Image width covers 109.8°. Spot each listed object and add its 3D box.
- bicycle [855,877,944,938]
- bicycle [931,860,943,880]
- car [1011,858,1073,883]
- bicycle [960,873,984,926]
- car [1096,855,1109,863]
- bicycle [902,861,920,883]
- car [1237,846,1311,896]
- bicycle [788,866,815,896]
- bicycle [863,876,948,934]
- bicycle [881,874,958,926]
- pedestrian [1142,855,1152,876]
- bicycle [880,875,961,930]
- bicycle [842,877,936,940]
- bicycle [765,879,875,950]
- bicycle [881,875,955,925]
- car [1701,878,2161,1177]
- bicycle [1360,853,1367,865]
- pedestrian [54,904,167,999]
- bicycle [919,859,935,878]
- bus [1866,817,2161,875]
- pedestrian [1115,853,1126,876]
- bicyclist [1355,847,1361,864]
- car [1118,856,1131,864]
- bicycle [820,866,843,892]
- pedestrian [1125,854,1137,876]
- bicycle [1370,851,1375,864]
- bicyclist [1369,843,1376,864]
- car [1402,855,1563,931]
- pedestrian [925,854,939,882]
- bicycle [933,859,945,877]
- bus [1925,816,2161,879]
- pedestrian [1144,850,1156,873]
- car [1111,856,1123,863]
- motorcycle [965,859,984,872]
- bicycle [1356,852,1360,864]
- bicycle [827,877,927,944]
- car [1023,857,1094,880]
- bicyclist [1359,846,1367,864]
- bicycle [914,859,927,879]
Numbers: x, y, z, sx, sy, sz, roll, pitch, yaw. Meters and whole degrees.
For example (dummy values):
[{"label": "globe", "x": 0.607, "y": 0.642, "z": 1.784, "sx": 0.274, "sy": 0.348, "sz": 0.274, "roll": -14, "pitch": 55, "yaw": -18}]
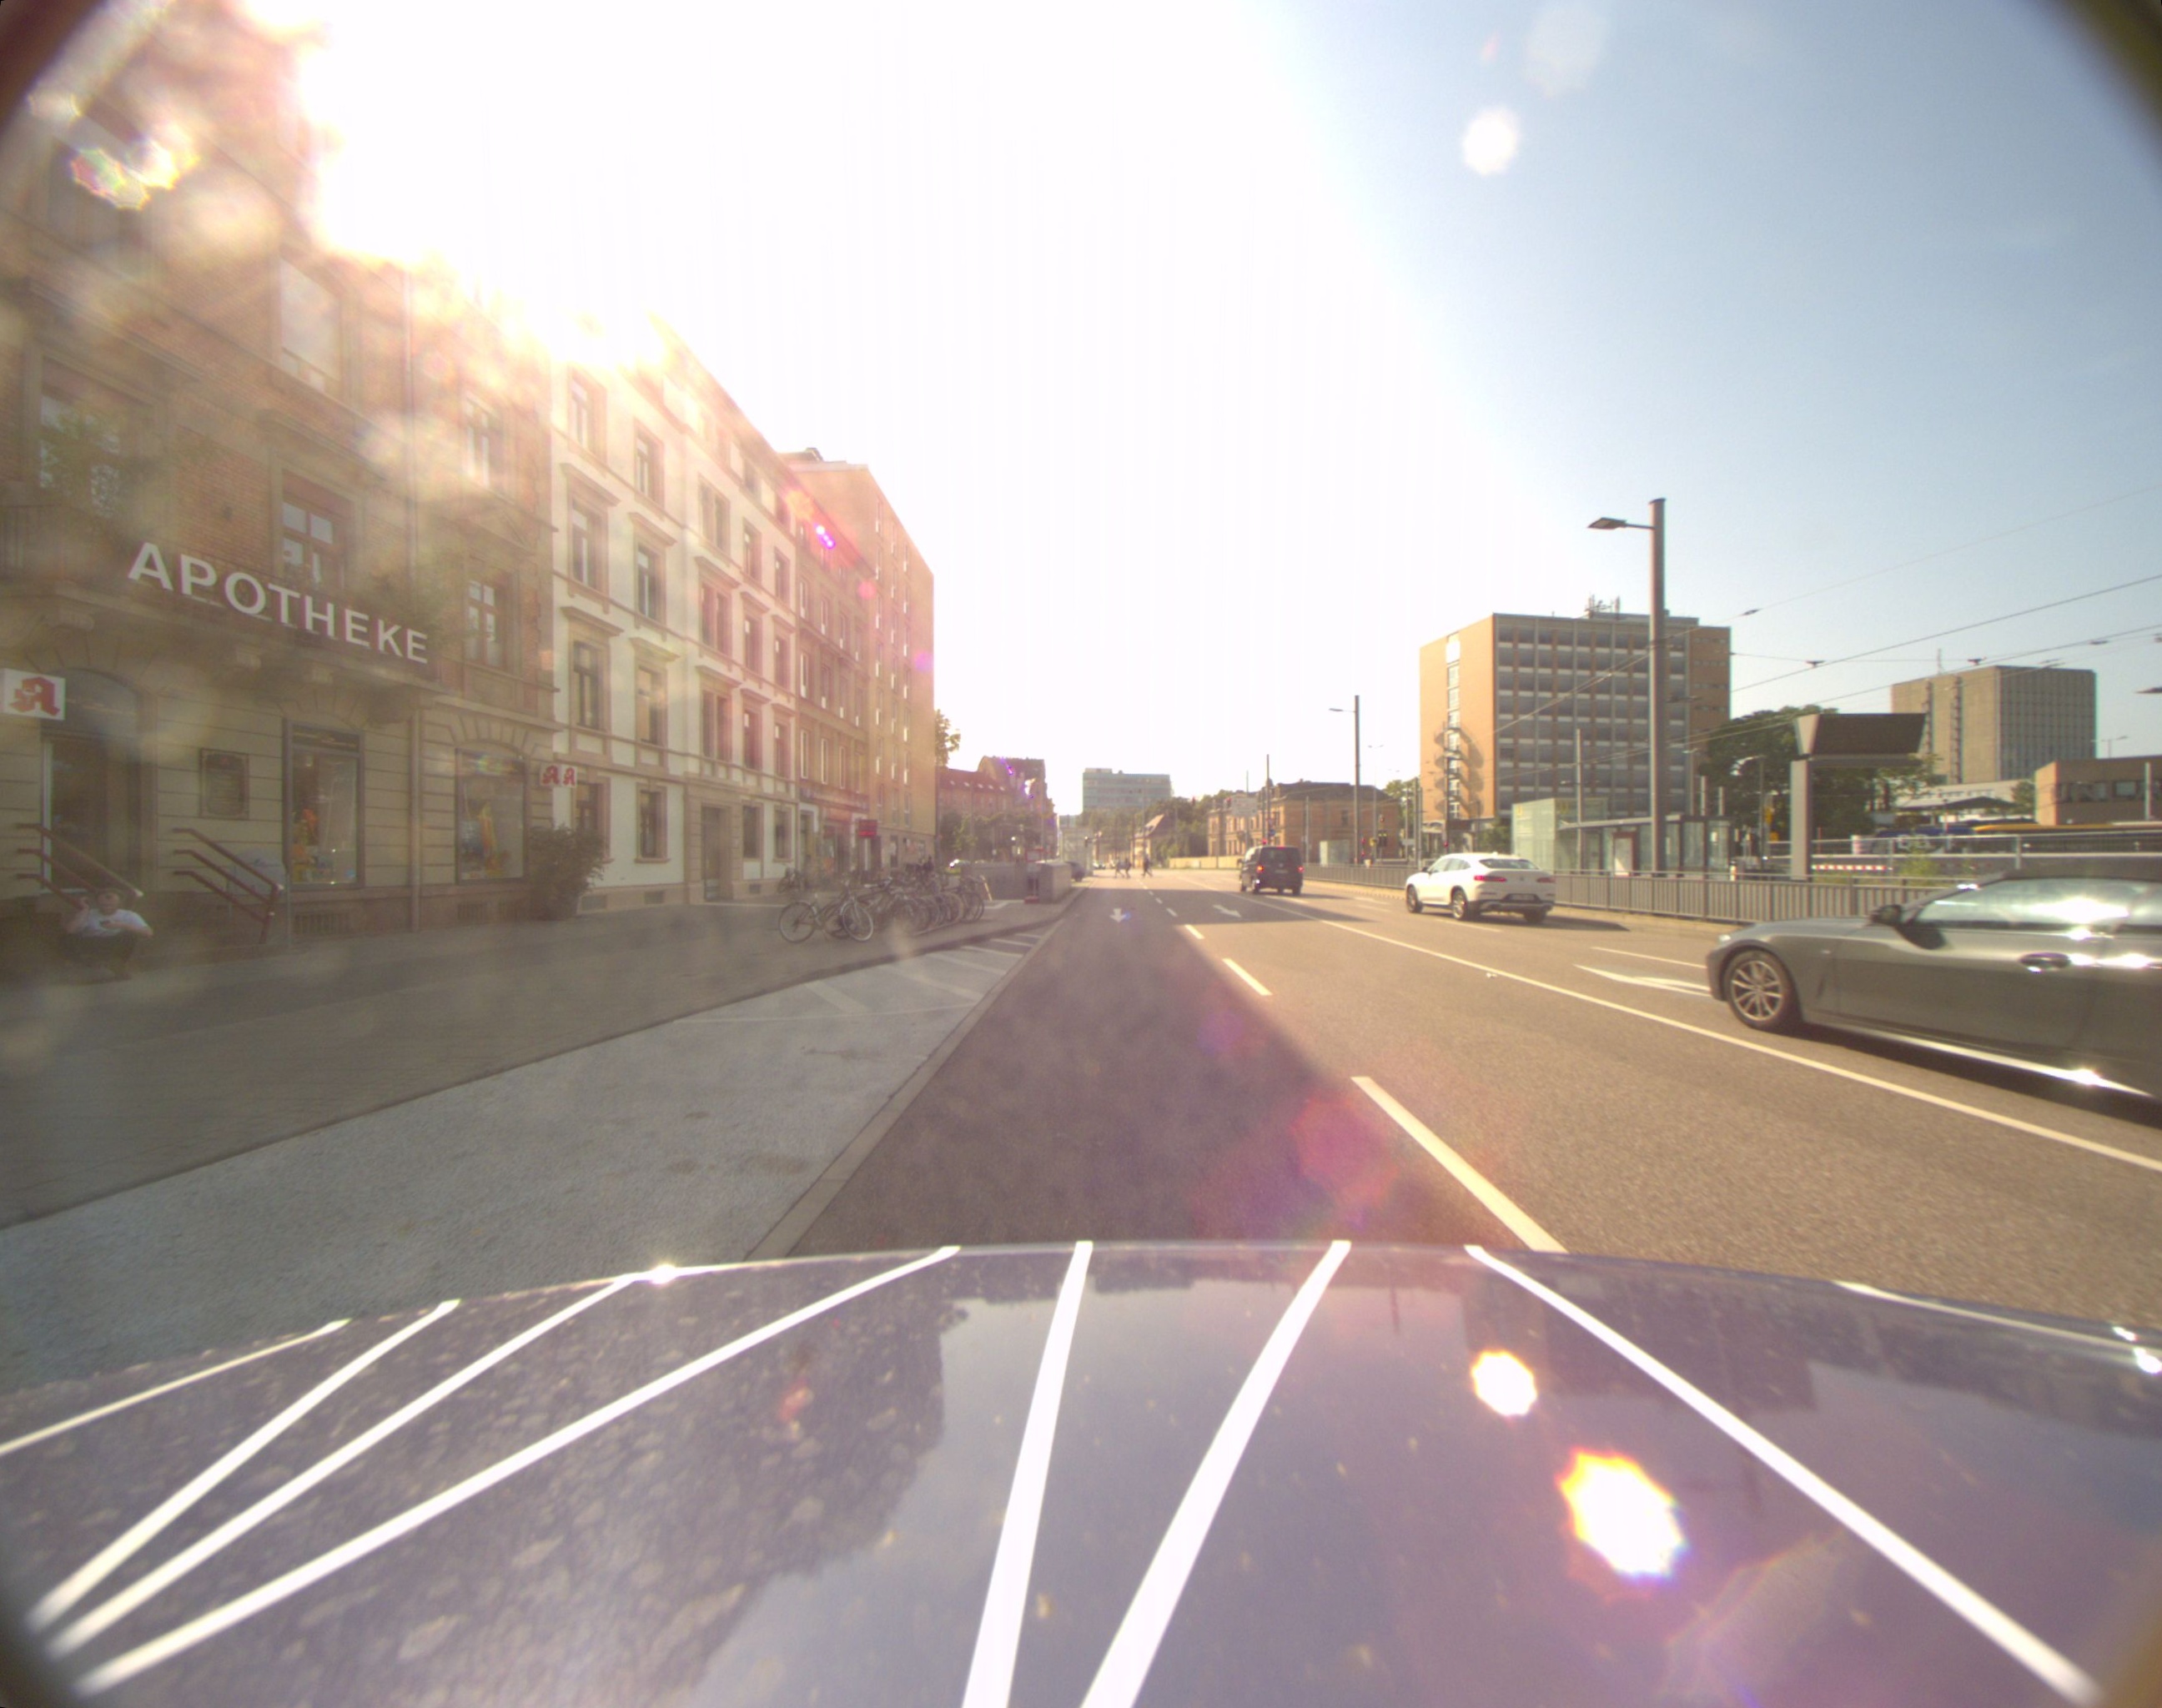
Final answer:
[{"label": "bicycle", "x": -3.525, "y": 1.033, "z": 14.803, "sx": 1.637, "sy": 1.142, "sz": 0.385, "roll": 0, "pitch": 1, "yaw": -2}, {"label": "bicycle", "x": -9.284, "y": 1.018, "z": 49.026, "sx": 0.604, "sy": 1.254, "sz": 1.996, "roll": 0, "pitch": 0, "yaw": -5}, {"label": "car", "x": -2.383, "y": 0.990, "z": 46.600, "sx": 3.535, "sy": 1.455, "sz": 1.618, "roll": -1, "pitch": 1, "yaw": -39}, {"label": "bicycle", "x": -2.538, "y": 1.049, "z": 17.854, "sx": 0.408, "sy": 1.142, "sz": 1.655, "roll": 0, "pitch": 0, "yaw": -3}, {"label": "car", "x": 3.765, "y": 0.829, "z": 132.965, "sx": 1.927, "sy": 1.368, "sz": 3.998, "roll": 0, "pitch": 0, "yaw": -5}, {"label": "bicycle", "x": -10.257, "y": 1.074, "z": 45.896, "sx": 0.604, "sy": 1.254, "sz": 1.998, "roll": 0, "pitch": 0, "yaw": 3}, {"label": "car", "x": 7.911, "y": 0.644, "z": 31.603, "sx": 1.998, "sy": 1.893, "sz": 4.717, "roll": 1, "pitch": 0, "yaw": 3}, {"label": "bicycle", "x": -11.301, "y": 1.079, "z": 30.750, "sx": 0.384, "sy": 1.127, "sz": 1.720, "roll": 0, "pitch": 0, "yaw": 3}, {"label": "bicycle", "x": -3.574, "y": 1.030, "z": 15.517, "sx": 1.637, "sy": 1.142, "sz": 0.385, "roll": 0, "pitch": 1, "yaw": -2}, {"label": "bicycle", "x": -3.620, "y": 1.030, "z": 17.101, "sx": 1.637, "sy": 1.142, "sz": 0.385, "roll": 0, "pitch": 1, "yaw": -2}, {"label": "pedestrian", "x": 4.964, "y": 0.879, "z": 57.311, "sx": 0.634, "sy": 1.588, "sz": 0.468, "roll": 2, "pitch": 1, "yaw": 1}, {"label": "bicycle", "x": -3.418, "y": 1.029, "z": 16.218, "sx": 1.637, "sy": 1.142, "sz": 0.385, "roll": 0, "pitch": 1, "yaw": -2}, {"label": "bicycle", "x": -3.565, "y": 1.000, "z": 14.148, "sx": 1.637, "sy": 1.142, "sz": 0.385, "roll": 0, "pitch": 1, "yaw": -2}, {"label": "bicycle", "x": -4.358, "y": 0.997, "z": 12.742, "sx": 1.636, "sy": 1.142, "sz": 0.602, "roll": 0, "pitch": 1, "yaw": 5}, {"label": "bicycle", "x": -3.761, "y": 1.059, "z": 17.569, "sx": 1.637, "sy": 1.142, "sz": 0.385, "roll": 0, "pitch": 1, "yaw": -2}, {"label": "car", "x": 6.038, "y": 0.890, "z": 4.151, "sx": 1.717, "sy": 1.323, "sz": 4.521, "roll": 1, "pitch": 0, "yaw": 3}, {"label": "bicycle", "x": 25.698, "y": 0.467, "z": 69.161, "sx": 0.402, "sy": 1.103, "sz": 1.748, "roll": 0, "pitch": 0, "yaw": 13}, {"label": "pedestrian", "x": -11.066, "y": 1.088, "z": 8.672, "sx": 0.612, "sy": 0.976, "sz": 0.637, "roll": 0, "pitch": 1, "yaw": 23}, {"label": "bicycle", "x": -10.338, "y": 0.970, "z": 51.133, "sx": 0.604, "sy": 1.254, "sz": 1.849, "roll": 0, "pitch": 0, "yaw": 2}, {"label": "bus", "x": 61.019, "y": -0.483, "z": 49.760, "sx": 3.232, "sy": 3.399, "sz": 13.278, "roll": 0, "pitch": 0, "yaw": -44}, {"label": "pedestrian", "x": 3.023, "y": 0.794, "z": 58.205, "sx": 0.815, "sy": 1.683, "sz": 0.651, "roll": 2, "pitch": 1, "yaw": 3}, {"label": "bicyclist", "x": 26.184, "y": 0.135, "z": 71.736, "sx": 0.511, "sy": 1.620, "sz": 0.809, "roll": 0, "pitch": 0, "yaw": 17}, {"label": "car", "x": 7.401, "y": 1.014, "z": 129.569, "sx": 1.693, "sy": 1.319, "sz": 3.998, "roll": 0, "pitch": 0, "yaw": -5}, {"label": "bicycle", "x": -11.294, "y": 1.101, "z": 34.440, "sx": 0.384, "sy": 1.127, "sz": 1.720, "roll": 0, "pitch": 0, "yaw": 3}, {"label": "pedestrian", "x": 3.648, "y": 0.773, "z": 55.265, "sx": 0.809, "sy": 1.539, "sz": 0.548, "roll": 2, "pitch": 1, "yaw": 4}, {"label": "bicycle", "x": 27.469, "y": 0.351, "z": 71.601, "sx": 0.376, "sy": 1.158, "sz": 1.862, "roll": 0, "pitch": 0, "yaw": 18}, {"label": "bicyclist", "x": 27.435, "y": -0.052, "z": 71.473, "sx": 0.580, "sy": 1.963, "sz": 0.809, "roll": 0, "pitch": 0, "yaw": 17}, {"label": "car", "x": 9.678, "y": 0.843, "z": 18.773, "sx": 1.717, "sy": 1.602, "sz": 4.505, "roll": 1, "pitch": 0, "yaw": 3}, {"label": "pedestrian", "x": -8.667, "y": 0.835, "z": 44.252, "sx": 0.610, "sy": 1.620, "sz": 0.737, "roll": 0, "pitch": 1, "yaw": 3}, {"label": "bicycle", "x": -10.095, "y": 1.006, "z": 54.183, "sx": 0.470, "sy": 1.254, "sz": 1.637, "roll": 0, "pitch": 0, "yaw": 2}, {"label": "bus", "x": 54.821, "y": -0.319, "z": 40.320, "sx": 3.232, "sy": 3.160, "sz": 13.277, "roll": 0, "pitch": 0, "yaw": -44}, {"label": "pedestrian", "x": 5.514, "y": 0.604, "z": 60.956, "sx": 0.834, "sy": 1.778, "sz": 0.729, "roll": 2, "pitch": 1, "yaw": 10}, {"label": "car", "x": 6.386, "y": 1.000, "z": 136.098, "sx": 1.693, "sy": 1.319, "sz": 3.998, "roll": 0, "pitch": 0, "yaw": -5}, {"label": "motorcycle", "x": -9.519, "y": 1.007, "z": 68.006, "sx": 0.704, "sy": 1.140, "sz": 2.304, "roll": 0, "pitch": 0, "yaw": 19}, {"label": "bicycle", "x": 26.159, "y": 0.366, "z": 71.798, "sx": 0.311, "sy": 1.158, "sz": 1.501, "roll": 0, "pitch": 0, "yaw": 18}, {"label": "bicycle", "x": -3.561, "y": 0.985, "z": 13.336, "sx": 1.637, "sy": 1.142, "sz": 0.385, "roll": 0, "pitch": 1, "yaw": -2}, {"label": "car", "x": -1.460, "y": 0.935, "z": 50.301, "sx": 4.418, "sy": 1.415, "sz": 1.843, "roll": -1, "pitch": 1, "yaw": -39}, {"label": "bicyclist", "x": 25.738, "y": 0.093, "z": 69.248, "sx": 0.588, "sy": 1.647, "sz": 0.791, "roll": 0, "pitch": 1, "yaw": 14}, {"label": "bicycle", "x": -10.292, "y": 0.943, "z": 48.773, "sx": 0.604, "sy": 1.254, "sz": 1.996, "roll": 0, "pitch": 0, "yaw": -5}]
